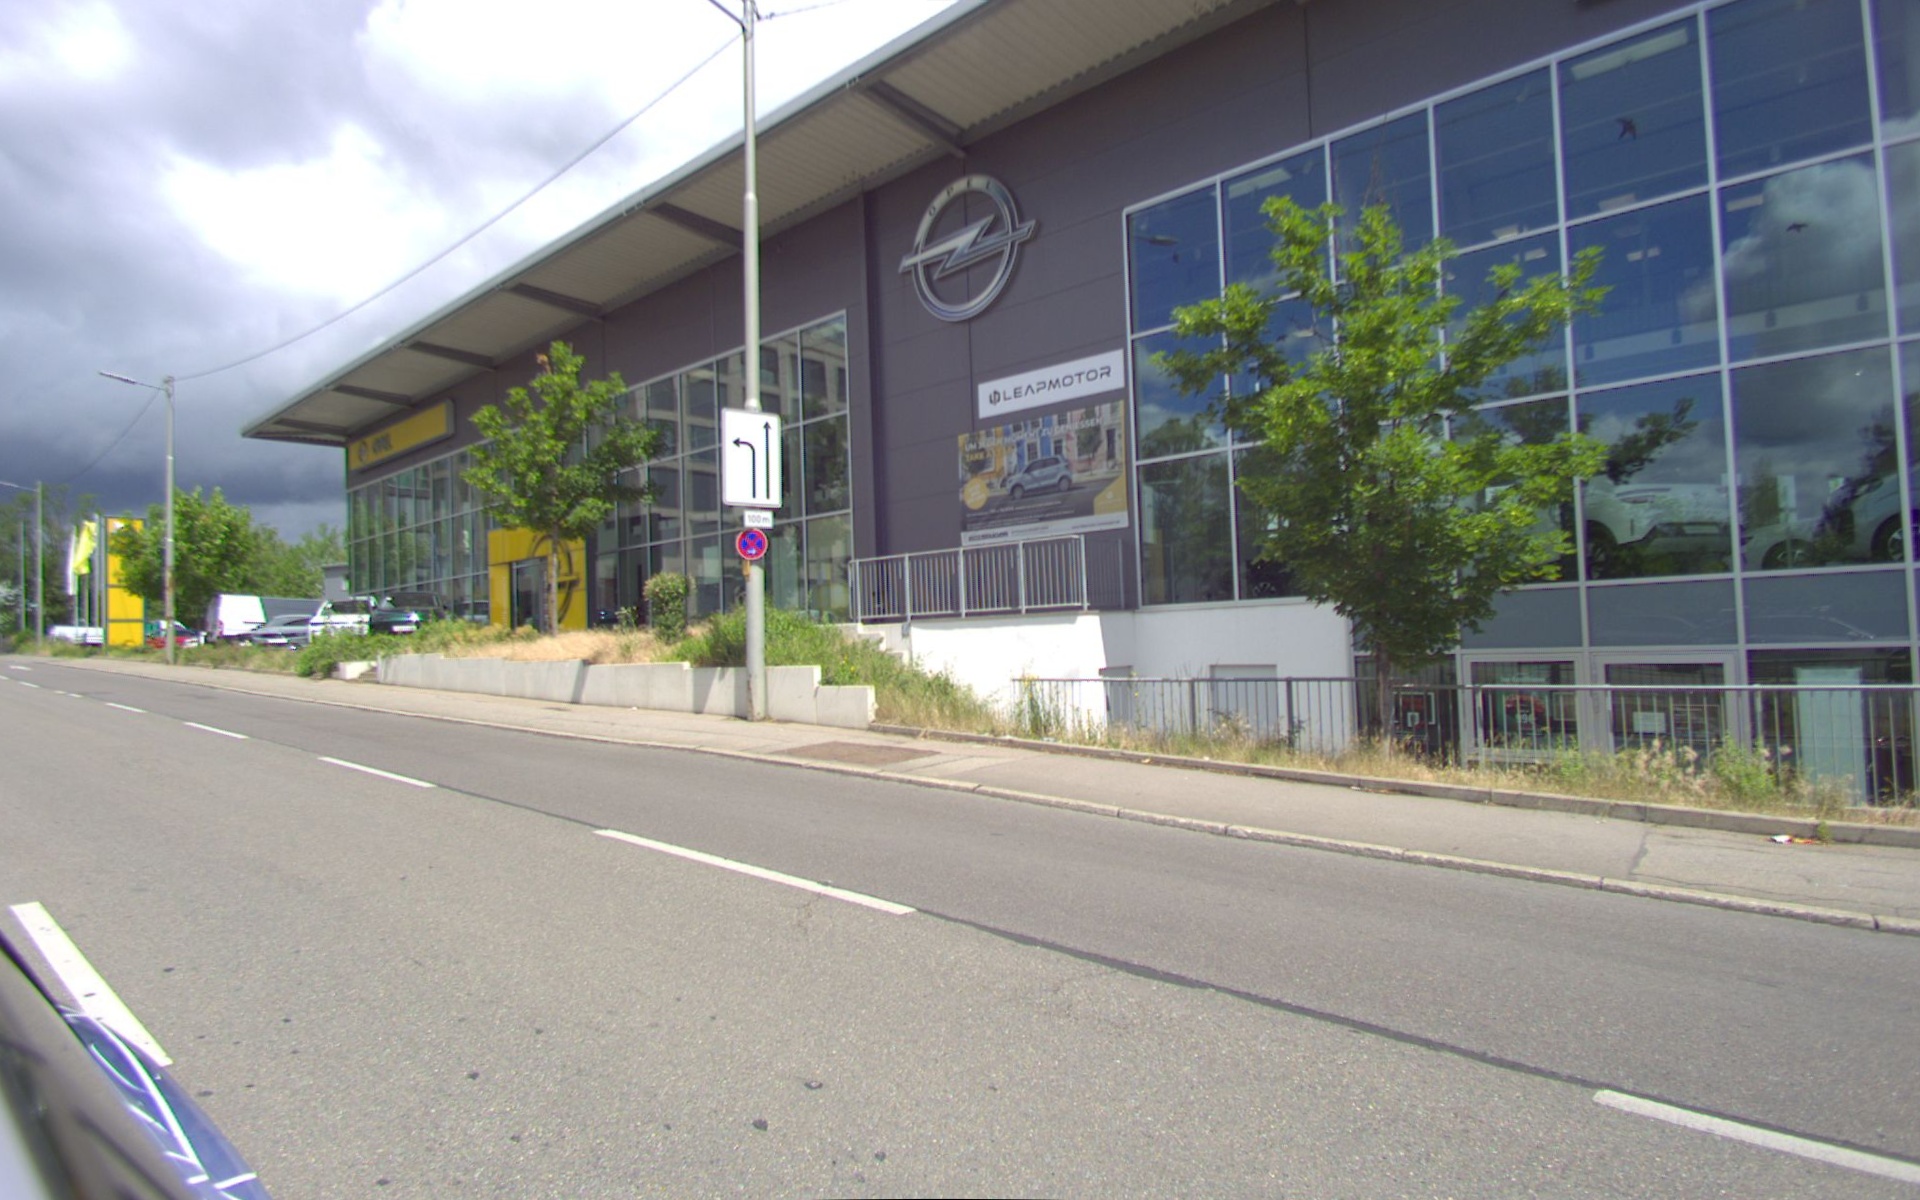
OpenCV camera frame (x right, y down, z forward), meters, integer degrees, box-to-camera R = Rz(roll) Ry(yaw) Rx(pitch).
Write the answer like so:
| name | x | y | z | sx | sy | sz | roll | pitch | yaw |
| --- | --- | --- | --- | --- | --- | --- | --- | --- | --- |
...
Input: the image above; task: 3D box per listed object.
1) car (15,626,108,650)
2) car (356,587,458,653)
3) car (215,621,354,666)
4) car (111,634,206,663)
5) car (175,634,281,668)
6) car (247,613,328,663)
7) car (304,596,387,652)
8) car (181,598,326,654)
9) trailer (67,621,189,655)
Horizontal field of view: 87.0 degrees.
| name | x | y | z | sx | sy | sz | roll | pitch | yaw |
| --- | --- | --- | --- | --- | --- | --- | --- | --- | --- |
| car | -57.688 | 2.436 | 65.028 | 2.093 | 1.493 | 4.200 | -2 | -2 | 38 |
| car | -15.564 | 0.595 | 28.697 | 1.791 | 1.625 | 4.121 | -4 | -1 | -19 |
| car | -25.737 | 1.634 | 38.685 | 1.792 | 1.625 | 4.064 | -1 | -2 | 32 |
| car | -42.024 | 2.519 | 53.111 | 1.814 | 1.420 | 3.621 | -2 | -2 | 42 |
| car | -35.530 | 2.439 | 49.175 | 1.559 | 1.539 | 3.897 | -2 | -2 | 38 |
| car | -23.332 | 1.316 | 35.225 | 1.767 | 1.625 | 4.122 | 1 | -2 | -26 |
| car | -19.235 | 0.738 | 31.812 | 1.767 | 1.625 | 4.122 | 0 | -1 | -25 |
| car | -29.213 | 1.053 | 41.977 | 2.176 | 2.211 | 4.478 | -1 | -1 | 37 |
| trailer | -45.329 | 2.042 | 55.240 | 2.092 | 1.765 | 4.776 | -2 | -2 | 37 |
